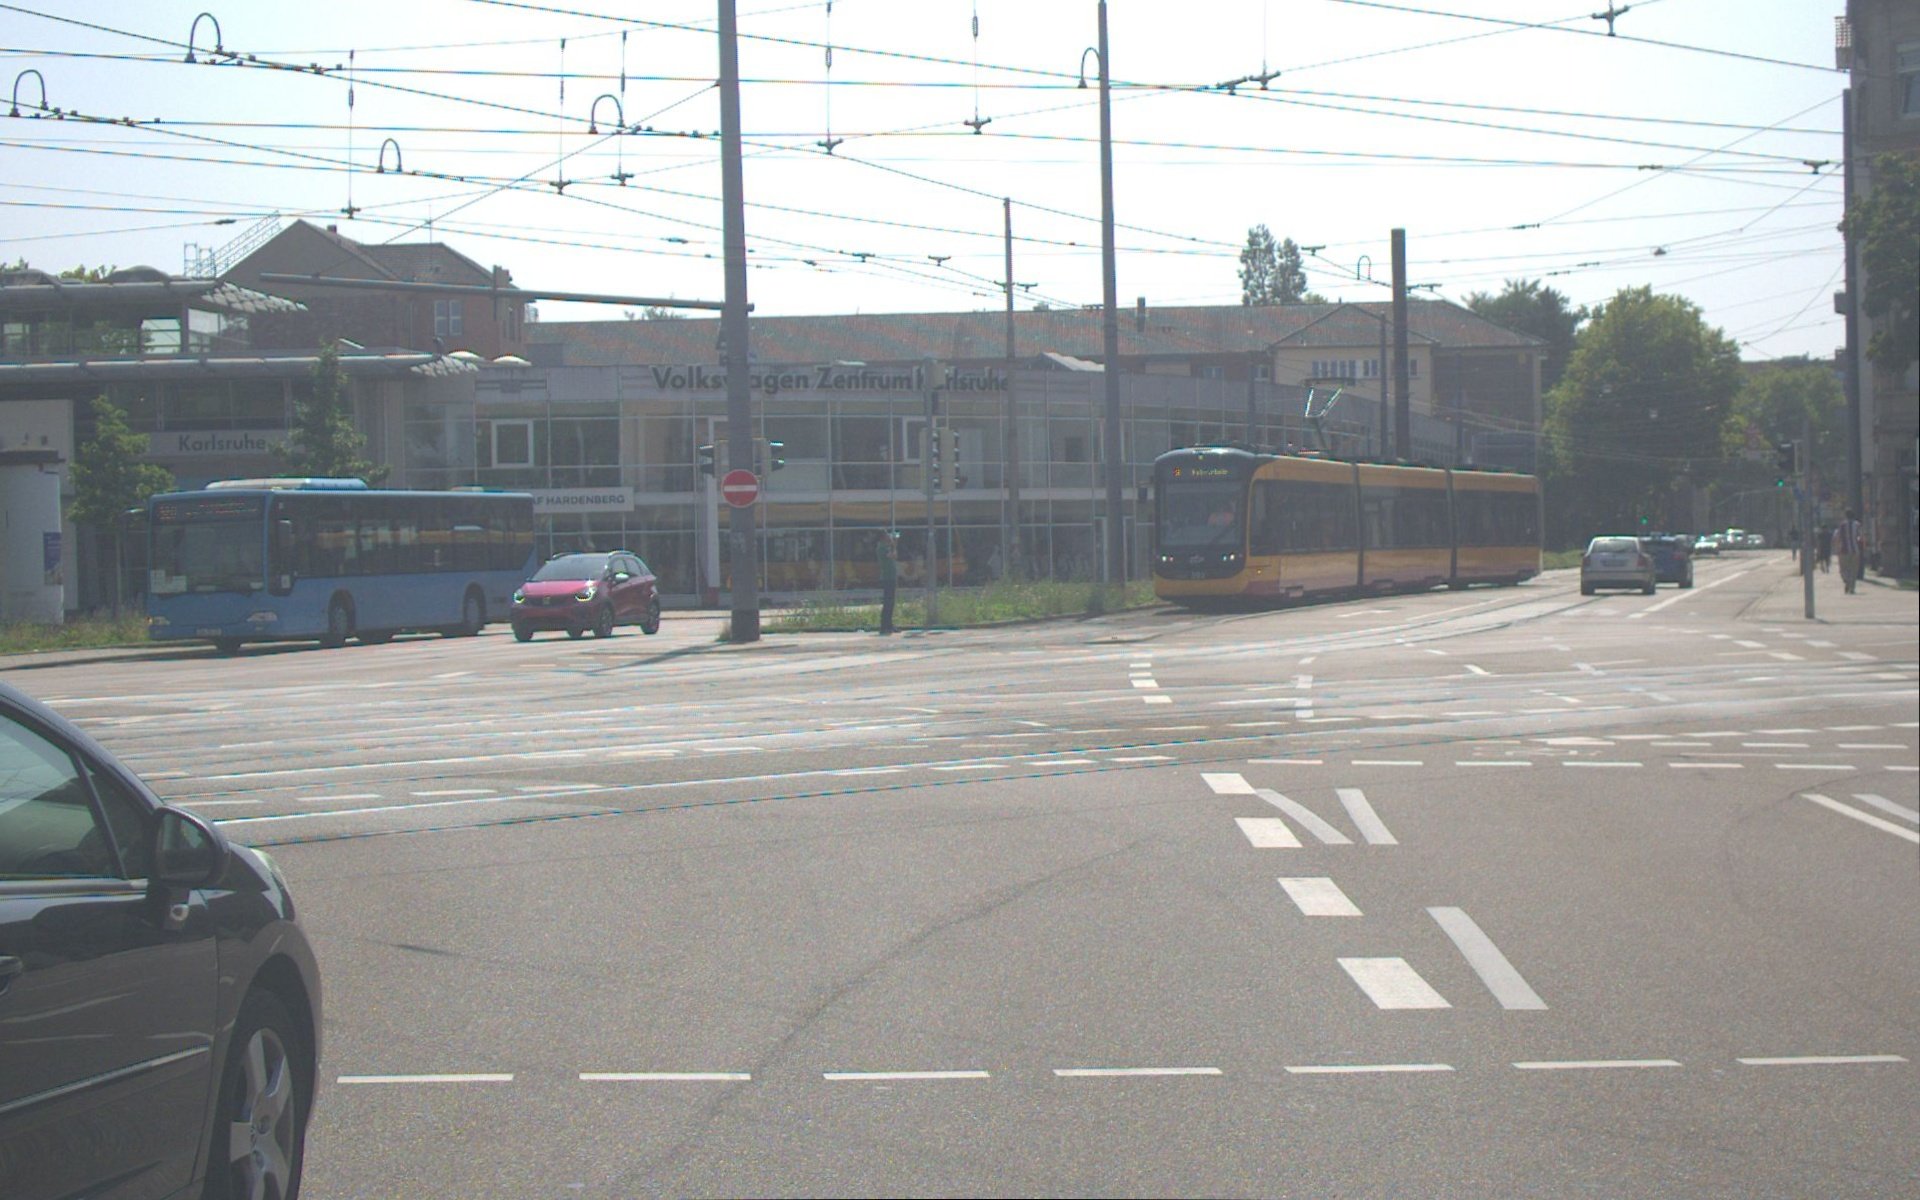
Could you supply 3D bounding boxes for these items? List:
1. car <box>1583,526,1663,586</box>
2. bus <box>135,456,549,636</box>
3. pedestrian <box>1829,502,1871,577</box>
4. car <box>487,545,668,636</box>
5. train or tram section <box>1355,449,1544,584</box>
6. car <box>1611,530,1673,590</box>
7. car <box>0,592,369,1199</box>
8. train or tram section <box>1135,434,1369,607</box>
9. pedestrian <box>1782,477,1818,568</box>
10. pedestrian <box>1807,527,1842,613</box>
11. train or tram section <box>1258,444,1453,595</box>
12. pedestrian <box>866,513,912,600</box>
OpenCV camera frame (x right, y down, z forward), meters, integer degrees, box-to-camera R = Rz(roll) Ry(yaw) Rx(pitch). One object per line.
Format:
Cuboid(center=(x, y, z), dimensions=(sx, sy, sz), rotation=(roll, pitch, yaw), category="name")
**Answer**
Cuboid(center=(16.679, -1.119, 86.361), dimensions=(1.771, 1.411, 4.186), rotation=(-1, 1, 13), category="car")
Cuboid(center=(-11.455, -1.065, 65.515), dimensions=(2.564, 3.072, 12.014), rotation=(-1, 1, 17), category="bus")
Cuboid(center=(19.367, -1.319, 74.829), dimensions=(0.699, 1.597, 0.573), rotation=(-1, 1, -8), category="pedestrian")
Cuboid(center=(-6.894, -0.193, 62.343), dimensions=(1.751, 1.546, 3.997), rotation=(-1, 1, 18), category="car")
Cuboid(center=(13.823, -2.324, 96.060), dimensions=(2.591, 3.504, 12.960), rotation=(-1, 1, 20), category="train or tram section")
Cuboid(center=(19.081, -1.141, 96.064), dimensions=(1.637, 1.612, 3.998), rotation=(-1, 1, 12), category="car")
Cuboid(center=(-2.391, 0.705, 5.806), dimensions=(1.766, 1.383, 3.780), rotation=(1, 1, 6), category="car")
Cuboid(center=(6.589, -1.733, 75.738), dimensions=(2.590, 3.504, 10.889), rotation=(-1, 1, 19), category="train or tram section")
Cuboid(center=(28.211, -2.608, 115.500), dimensions=(0.983, 3.007, 0.974), rotation=(-1, 1, 5), category="pedestrian")
Cuboid(center=(30.510, -1.072, 121.344), dimensions=(0.983, 3.007, 0.974), rotation=(-1, 1, 5), category="pedestrian")
Cuboid(center=(9.948, -1.987, 85.460), dimensions=(2.591, 3.504, 9.649), rotation=(-1, 1, 20), category="train or tram section")
Cuboid(center=(-1.186, -0.725, 57.631), dimensions=(0.676, 1.438, 0.366), rotation=(-1, 1, -17), category="pedestrian")
